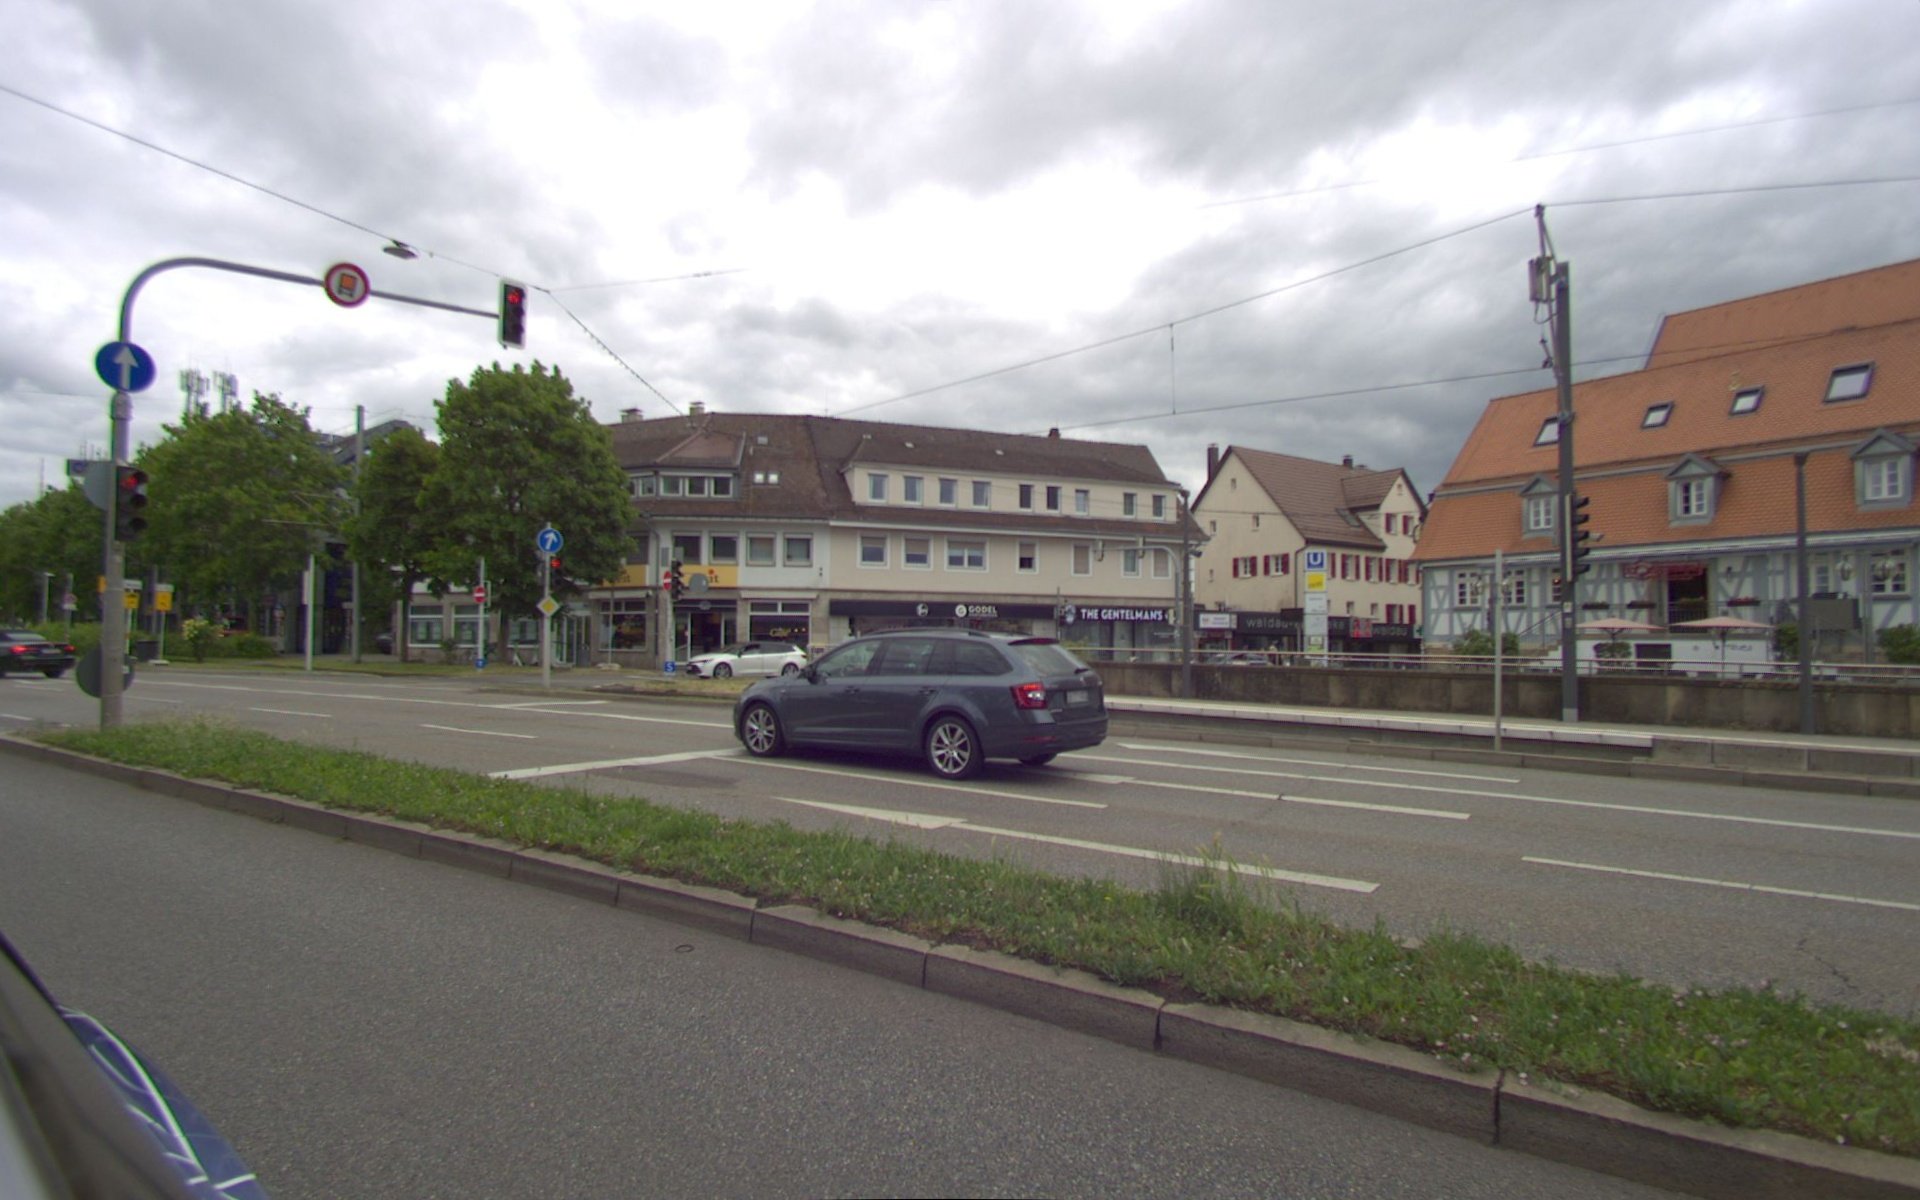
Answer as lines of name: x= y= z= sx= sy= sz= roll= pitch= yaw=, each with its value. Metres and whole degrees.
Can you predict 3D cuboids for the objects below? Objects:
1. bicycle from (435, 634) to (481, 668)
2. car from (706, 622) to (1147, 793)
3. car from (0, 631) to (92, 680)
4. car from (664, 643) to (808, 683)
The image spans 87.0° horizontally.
bicycle: x=-19.544 y=1.964 z=39.424 sx=0.621 sy=1.263 sz=1.676 roll=1 pitch=-2 yaw=14
car: x=-0.471 y=1.032 z=11.210 sx=4.633 sy=1.524 sz=1.977 roll=-1 pitch=-3 yaw=35
car: x=-28.239 y=1.567 z=29.342 sx=4.753 sy=1.367 sz=1.996 roll=0 pitch=-2 yaw=7
car: x=-8.179 y=2.274 z=37.167 sx=4.731 sy=1.367 sz=2.004 roll=2 pitch=-3 yaw=-37
